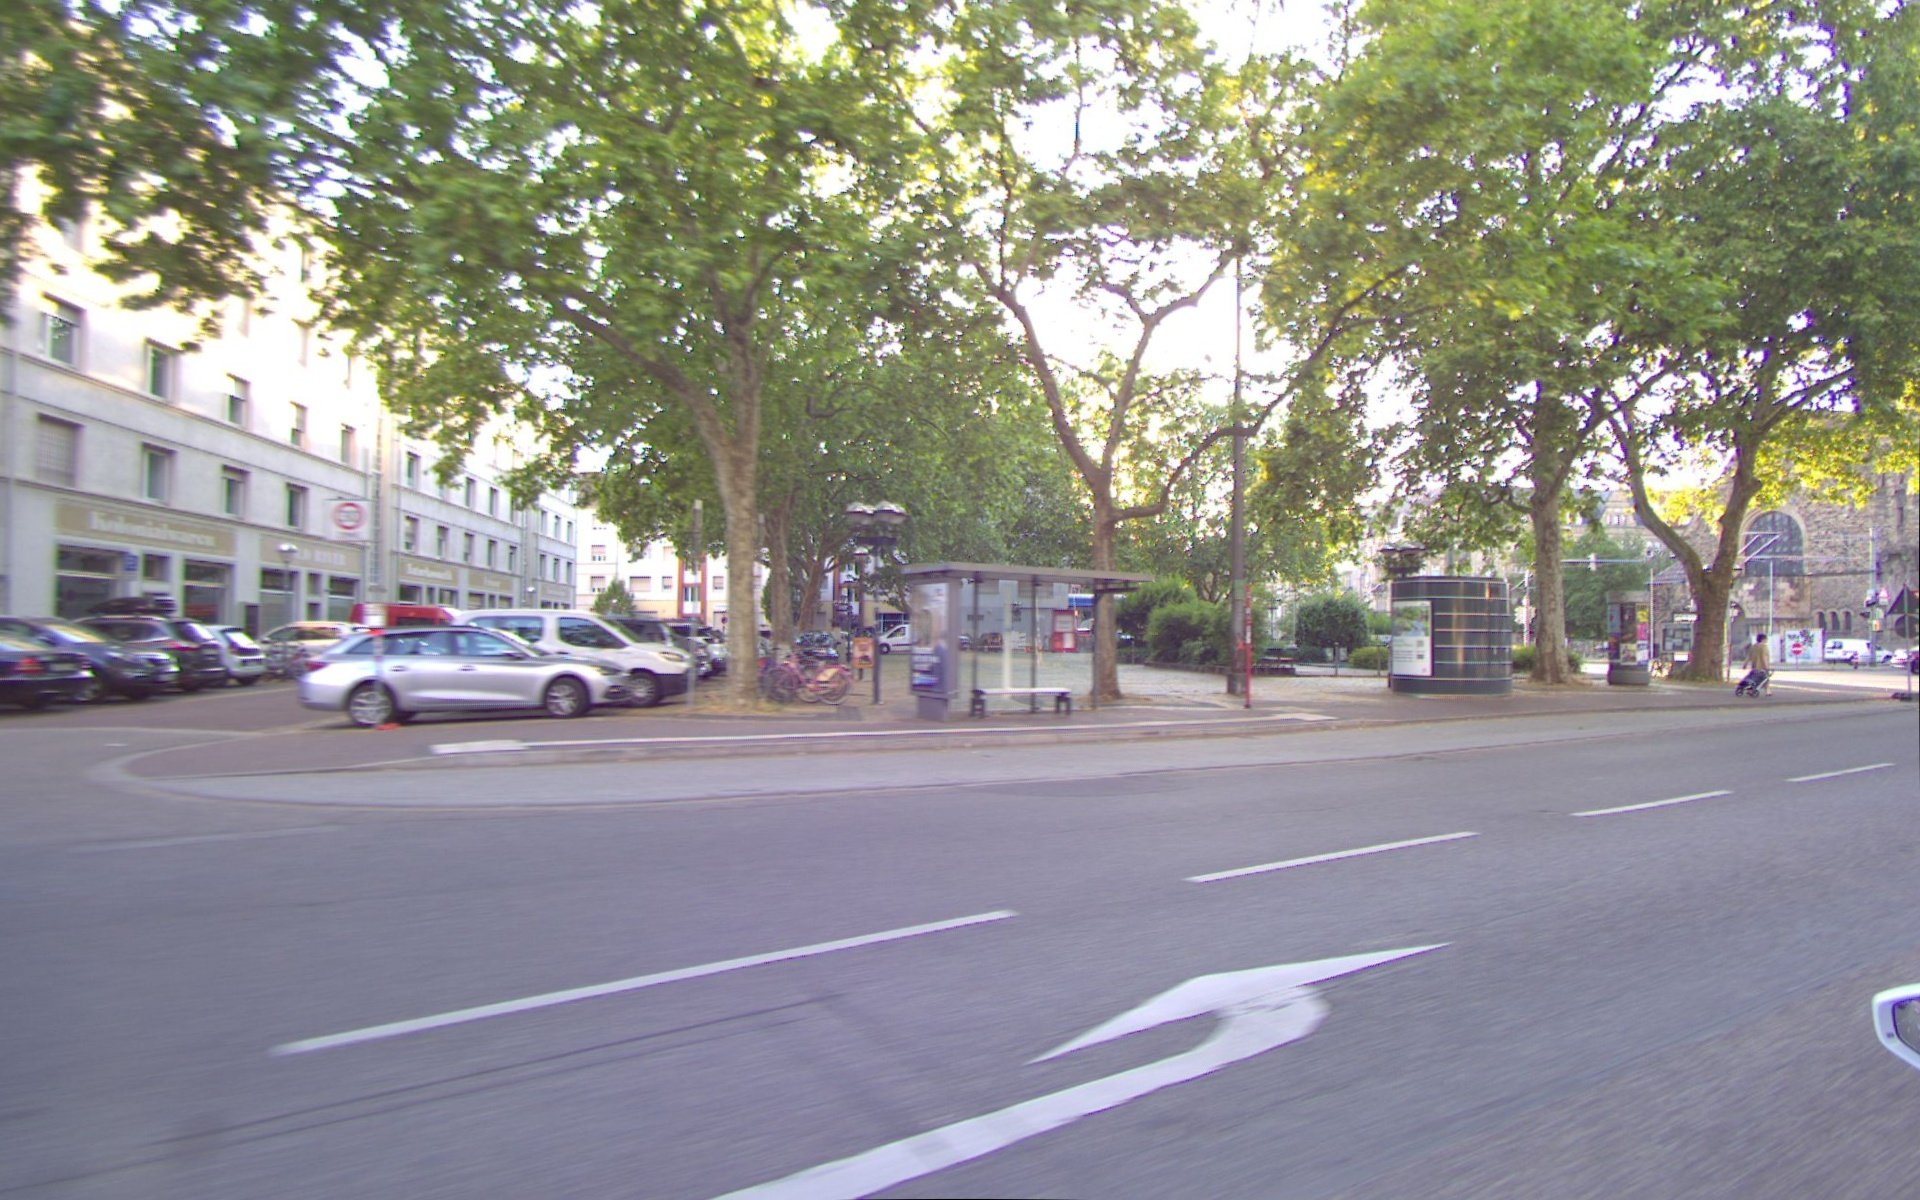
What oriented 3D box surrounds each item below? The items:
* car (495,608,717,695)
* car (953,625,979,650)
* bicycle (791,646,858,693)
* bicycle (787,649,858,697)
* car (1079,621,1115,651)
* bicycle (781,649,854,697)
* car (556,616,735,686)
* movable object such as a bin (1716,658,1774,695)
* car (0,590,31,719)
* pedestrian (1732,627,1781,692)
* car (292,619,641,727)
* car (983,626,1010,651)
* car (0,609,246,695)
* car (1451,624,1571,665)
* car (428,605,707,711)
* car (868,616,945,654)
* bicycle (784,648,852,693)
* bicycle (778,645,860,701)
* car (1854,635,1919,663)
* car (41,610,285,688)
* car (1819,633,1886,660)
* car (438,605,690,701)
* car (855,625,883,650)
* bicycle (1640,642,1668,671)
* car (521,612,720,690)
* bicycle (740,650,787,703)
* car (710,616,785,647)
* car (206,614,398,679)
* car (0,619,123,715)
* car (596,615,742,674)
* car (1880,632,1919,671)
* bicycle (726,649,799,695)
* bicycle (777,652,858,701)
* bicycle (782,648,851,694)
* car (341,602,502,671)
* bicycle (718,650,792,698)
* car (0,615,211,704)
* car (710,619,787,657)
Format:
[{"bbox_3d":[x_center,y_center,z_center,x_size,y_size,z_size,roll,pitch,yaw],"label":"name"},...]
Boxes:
[{"bbox_3d":[-8.096,1.161,23.385,4.546,1.865,2.082,0,-1,-9],"label":"car"},{"bbox_3d":[0.437,2.993,80.212,1.893,1.866,4.339,1,-2,-1],"label":"car"},{"bbox_3d":[-3.138,1.611,23.284,1.480,1.063,0.393,1,-1,-18],"label":"bicycle"},{"bbox_3d":[-2.920,1.554,21.469,1.489,0.981,0.391,1,-2,-35],"label":"bicycle"},{"bbox_3d":[11.006,2.881,81.219,1.895,2.289,4.336,1,-2,-6],"label":"car"},{"bbox_3d":[-2.973,1.521,21.022,1.475,0.981,0.395,0,-1,-3],"label":"bicycle"},{"bbox_3d":[-8.795,1.420,28.497,4.546,1.865,2.082,0,-1,-8],"label":"car"},{"bbox_3d":[20.151,1.957,25.787,0.966,0.902,0.738,1,-2,-16],"label":"movable object such as a bin"},{"bbox_3d":[-17.206,0.778,14.831,4.757,1.999,1.998,1,-2,-8],"label":"car"},{"bbox_3d":[20.799,1.539,26.247,0.674,1.650,0.738,1,-1,-16],"label":"pedestrian"},{"bbox_3d":[-7.387,1.059,15.552,4.553,1.501,1.820,0,-1,-15],"label":"car"},{"bbox_3d":[2.902,3.095,80.842,1.893,1.866,4.339,1,-2,-1],"label":"car"},{"bbox_3d":[-18.729,1.137,22.246,4.260,1.773,1.928,1,-2,-9],"label":"car"},{"bbox_3d":[25.699,2.055,46.927,4.544,1.865,2.083,0,-1,-6],"label":"car"},{"bbox_3d":[-7.165,1.036,18.768,4.546,1.824,1.822,0,-1,-9],"label":"car"},{"bbox_3d":[-3.451,2.242,64.873,4.758,2.322,1.997,1,-2,-9],"label":"car"},{"bbox_3d":[-3.188,1.584,22.563,1.475,0.981,0.395,0,-1,-3],"label":"bicycle"},{"bbox_3d":[-2.790,1.442,19.948,1.563,1.088,0.402,0,-1,-3],"label":"bicycle"},{"bbox_3d":[63.096,3.296,67.901,1.682,1.829,3.801,1,-2,-9],"label":"car"},{"bbox_3d":[-19.496,1.198,24.768,4.260,1.773,1.928,1,-2,-9],"label":"car"},{"bbox_3d":[64.011,3.329,72.084,3.428,1.935,1.712,0,-1,-5],"label":"car"},{"bbox_3d":[-8.144,1.072,21.076,4.546,1.865,2.082,0,-1,-9],"label":"car"},{"bbox_3d":[-7.143,2.943,79.099,1.893,1.866,4.339,1,-2,-1],"label":"car"},{"bbox_3d":[25.918,2.094,37.526,0.535,1.057,1.920,0,-2,24],"label":"bicycle"},{"bbox_3d":[-8.614,1.276,25.920,4.546,1.865,2.082,0,-1,-9],"label":"car"},{"bbox_3d":[-3.863,1.491,19.837,0.387,0.981,1.505,0,-2,10],"label":"bicycle"},{"bbox_3d":[-13.375,1.974,63.224,4.550,1.865,2.080,0,-1,-13],"label":"car"},{"bbox_3d":[-19.391,1.377,29.793,4.260,1.773,1.928,1,-2,-9],"label":"car"},{"bbox_3d":[-17.418,1.092,17.231,4.260,1.558,1.928,1,-2,-9],"label":"car"},{"bbox_3d":[-9.702,1.479,33.853,4.550,1.865,2.081,0,-1,-12],"label":"car"},{"bbox_3d":[43.469,2.250,44.022,4.181,1.672,2.001,0,-2,18],"label":"car"},{"bbox_3d":[-4.249,1.553,21.664,1.475,0.981,0.395,0,-1,-3],"label":"bicycle"},{"bbox_3d":[-2.909,1.570,20.626,1.611,0.981,0.408,0,-1,-3],"label":"bicycle"},{"bbox_3d":[-3.143,1.562,22.068,1.475,0.981,0.395,0,-1,-3],"label":"bicycle"},{"bbox_3d":[-21.235,1.453,39.812,5.188,2.536,1.998,1,-2,-8],"label":"car"},{"bbox_3d":[-4.283,1.539,21.040,1.475,0.981,0.395,0,-1,-3],"label":"bicycle"},{"bbox_3d":[-17.712,1.130,19.732,4.260,1.616,2.047,1,-2,-9],"label":"car"},{"bbox_3d":[-13.799,2.480,65.739,4.757,2.370,1.998,1,-2,-8],"label":"car"}]
